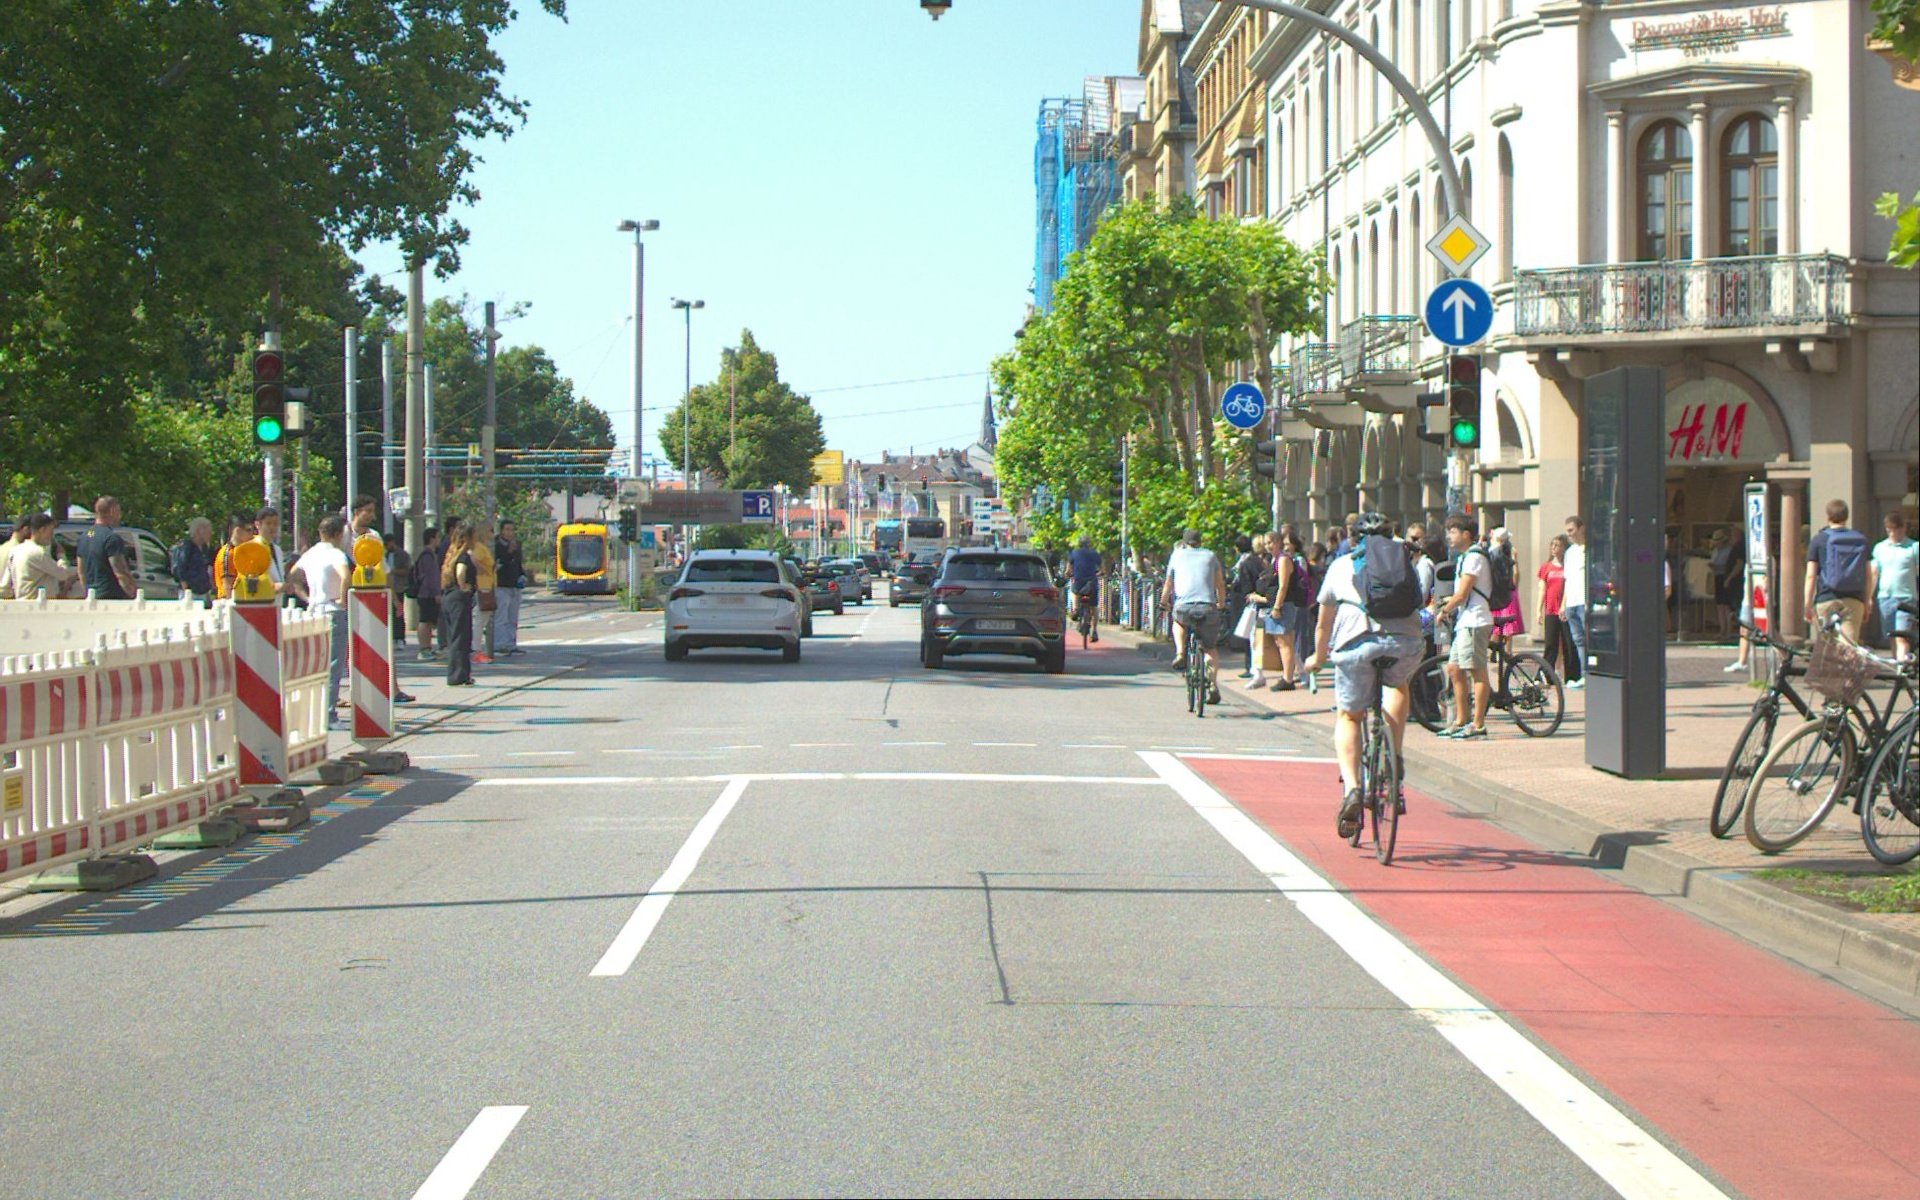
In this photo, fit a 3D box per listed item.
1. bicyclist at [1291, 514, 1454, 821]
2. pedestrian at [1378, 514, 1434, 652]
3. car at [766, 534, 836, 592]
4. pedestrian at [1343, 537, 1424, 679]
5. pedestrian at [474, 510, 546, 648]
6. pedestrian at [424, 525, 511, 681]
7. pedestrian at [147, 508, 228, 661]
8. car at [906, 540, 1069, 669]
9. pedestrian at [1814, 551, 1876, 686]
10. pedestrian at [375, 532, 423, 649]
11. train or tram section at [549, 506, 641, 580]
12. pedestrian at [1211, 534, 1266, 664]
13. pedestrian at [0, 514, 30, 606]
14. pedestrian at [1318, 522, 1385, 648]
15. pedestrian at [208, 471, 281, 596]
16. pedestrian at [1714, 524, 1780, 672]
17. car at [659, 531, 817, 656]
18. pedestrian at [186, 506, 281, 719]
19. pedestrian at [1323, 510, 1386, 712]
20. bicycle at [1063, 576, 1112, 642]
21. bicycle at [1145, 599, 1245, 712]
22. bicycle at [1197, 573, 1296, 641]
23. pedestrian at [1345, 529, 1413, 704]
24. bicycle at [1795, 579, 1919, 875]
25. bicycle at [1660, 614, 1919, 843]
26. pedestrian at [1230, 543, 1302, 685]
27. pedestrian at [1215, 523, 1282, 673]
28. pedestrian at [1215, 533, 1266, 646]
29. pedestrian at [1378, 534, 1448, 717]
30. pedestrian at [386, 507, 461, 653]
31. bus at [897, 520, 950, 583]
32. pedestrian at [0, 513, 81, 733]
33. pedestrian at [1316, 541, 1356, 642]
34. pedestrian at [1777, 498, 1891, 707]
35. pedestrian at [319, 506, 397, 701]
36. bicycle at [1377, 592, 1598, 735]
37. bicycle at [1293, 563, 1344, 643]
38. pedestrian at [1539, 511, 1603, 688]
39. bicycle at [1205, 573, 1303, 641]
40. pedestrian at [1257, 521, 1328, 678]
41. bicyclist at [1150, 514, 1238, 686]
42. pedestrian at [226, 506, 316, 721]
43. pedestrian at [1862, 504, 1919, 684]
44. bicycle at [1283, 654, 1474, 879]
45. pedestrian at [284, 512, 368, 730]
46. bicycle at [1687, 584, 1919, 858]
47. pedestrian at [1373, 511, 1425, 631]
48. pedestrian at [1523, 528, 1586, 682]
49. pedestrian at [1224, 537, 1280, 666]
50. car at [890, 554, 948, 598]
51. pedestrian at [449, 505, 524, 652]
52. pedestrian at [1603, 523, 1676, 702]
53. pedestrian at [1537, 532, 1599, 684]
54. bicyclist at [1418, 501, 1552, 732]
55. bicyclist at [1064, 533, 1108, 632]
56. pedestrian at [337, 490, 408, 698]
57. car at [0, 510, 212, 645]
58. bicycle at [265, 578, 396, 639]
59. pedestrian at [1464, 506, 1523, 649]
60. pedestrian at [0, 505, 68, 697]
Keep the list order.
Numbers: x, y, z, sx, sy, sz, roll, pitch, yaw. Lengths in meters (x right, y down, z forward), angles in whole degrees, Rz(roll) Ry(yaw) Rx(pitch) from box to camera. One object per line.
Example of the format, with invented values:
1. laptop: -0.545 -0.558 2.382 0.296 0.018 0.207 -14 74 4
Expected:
1. bicyclist: 2.048 0.319 17.190 0.630 1.476 1.198 1 1 -1
2. pedestrian: 5.876 -0.220 45.305 0.610 1.800 0.678 0 0 -2
3. car: -4.429 -1.048 96.251 1.845 1.554 4.000 0 1 -2
4. pedestrian: 5.665 0.103 46.022 0.610 1.800 0.678 -12 1 -2
5. pedestrian: -6.032 -0.283 46.088 0.633 1.828 0.730 1 0 29
6. pedestrian: -5.081 0.026 35.494 0.633 1.590 0.686 1 0 20
7. pedestrian: -9.216 -0.191 41.032 0.633 1.804 0.730 1 0 20
8. car: 0.302 0.021 44.210 1.845 1.554 4.001 0 1 -3
9. pedestrian: 10.804 0.218 41.985 0.540 1.627 0.678 1 0 -2
10. pedestrian: -8.284 -0.142 50.758 0.610 1.719 0.678 0 0 -2
11. train or tram section: -16.985 -2.664 160.712 2.613 3.337 11.001 1 1 3
12. pedestrian: 3.712 -0.019 45.908 0.582 1.694 0.605 -3 0 -2
13. pedestrian: -12.084 -0.505 42.926 0.633 1.140 0.664 1 0 20
14. pedestrian: 5.367 -0.211 47.143 0.610 1.699 0.678 -1 1 -29
15. pedestrian: -10.202 -0.947 49.020 0.679 1.758 0.765 1 0 29
16. pedestrian: 9.679 -0.032 42.297 0.610 1.800 0.678 0 0 -2
17. car: -2.886 -0.119 45.403 1.845 1.554 4.000 -1 1 0
18. pedestrian: -5.929 0.100 28.062 0.539 1.712 0.606 2 0 -32
19. pedestrian: 3.752 0.099 32.690 0.523 1.891 0.641 -1 0 2
20. bicycle: 1.991 0.126 54.040 0.647 0.994 2.031 0 1 -1
21. bicycle: 2.241 0.513 32.995 0.774 1.002 2.329 0 1 -1
22. bicycle: 4.250 0.107 51.058 1.420 0.976 0.445 -1 2 0
23. pedestrian: 3.683 0.143 30.243 0.523 1.516 0.641 -1 0 2
24. bicycle: 4.845 0.568 15.901 1.820 1.304 0.689 0 1 -21
25. bicycle: 4.493 0.637 17.379 1.781 1.118 0.563 0 1 -3
26. pedestrian: 3.377 0.148 37.977 0.610 1.510 0.678 -4 0 -2
27. pedestrian: 3.443 -0.028 41.063 0.610 1.733 0.678 -4 0 -2
28. pedestrian: 4.042 -0.162 49.563 0.531 1.589 0.611 1 4 26
29. pedestrian: 4.072 0.223 30.910 0.549 1.625 0.589 -1 0 2
30. pedestrian: -6.873 -0.256 44.060 0.633 1.852 0.730 1 0 29
31. bus: -2.233 -2.861 205.207 2.994 3.581 11.745 0 0 -1
32. pedestrian: -8.077 0.193 30.032 0.576 1.884 0.653 2 0 1
33. pedestrian: 6.703 -0.147 61.299 0.628 1.785 0.612 0 0 -1
34. pedestrian: 7.604 0.032 29.947 0.657 1.784 1.233 0 -1 -1
35. pedestrian: -5.468 0.029 31.251 0.576 1.752 0.638 0 0 1
36. bicycle: 4.177 0.484 27.331 0.600 1.078 1.839 -3 2 -35
37. bicycle: 5.264 0.037 50.472 0.400 1.110 1.424 0 2 20
38. pedestrian: 6.337 -0.009 35.661 0.522 1.817 0.641 -1 0 0
39. bicycle: 4.396 0.099 51.520 1.420 0.976 0.445 -1 2 0
40. pedestrian: 3.826 -0.006 39.608 0.610 1.753 0.678 -4 0 -2
41. bicyclist: 2.238 -0.010 32.967 0.774 1.629 0.851 0 1 0
42. pedestrian: -5.779 0.110 28.836 0.539 1.773 0.606 2 0 5
43. pedestrian: 9.533 -0.062 34.750 0.549 1.795 0.588 -1 0 -45
44. bicycle: 2.048 0.794 17.064 0.630 0.976 2.089 1 1 -2
45. pedestrian: -5.121 0.168 27.745 0.429 1.734 0.606 2 0 -32
46. bicycle: 4.529 0.561 16.497 1.932 1.253 0.705 0 1 -20
47. pedestrian: 6.571 -0.440 51.460 0.675 1.785 0.612 0 0 -1
48. pedestrian: 6.274 0.048 36.308 0.522 1.606 0.641 -1 0 0
49. pedestrian: 3.834 0.016 45.224 0.582 1.668 0.605 -3 0 -2
50. car: -1.370 -0.801 112.847 1.845 1.409 4.000 0 1 -2
51. pedestrian: -5.826 -0.268 42.310 0.633 1.788 0.730 1 0 20
52. pedestrian: 6.283 0.111 31.799 0.549 1.634 0.589 -1 0 2
53. pedestrian: 6.474 0.082 36.636 0.522 1.603 0.641 -1 0 0
54. bicyclist: 4.167 0.126 27.321 0.573 1.791 0.857 -3 1 -35
55. bicyclist: 1.983 -0.276 54.247 0.647 1.545 0.817 0 1 -1
56. pedestrian: -5.445 -0.057 31.875 0.532 1.912 0.560 0 0 1
57. car: -13.438 -0.342 51.993 1.861 1.948 4.756 1 0 20
58. bicycle: -10.275 0.137 56.091 2.081 0.976 0.685 0 0 -12
59. pedestrian: 6.866 -0.292 44.244 0.610 1.817 0.678 0 0 -2
60. pedestrian: -8.478 -0.002 31.113 0.584 1.716 0.789 0 1 1
